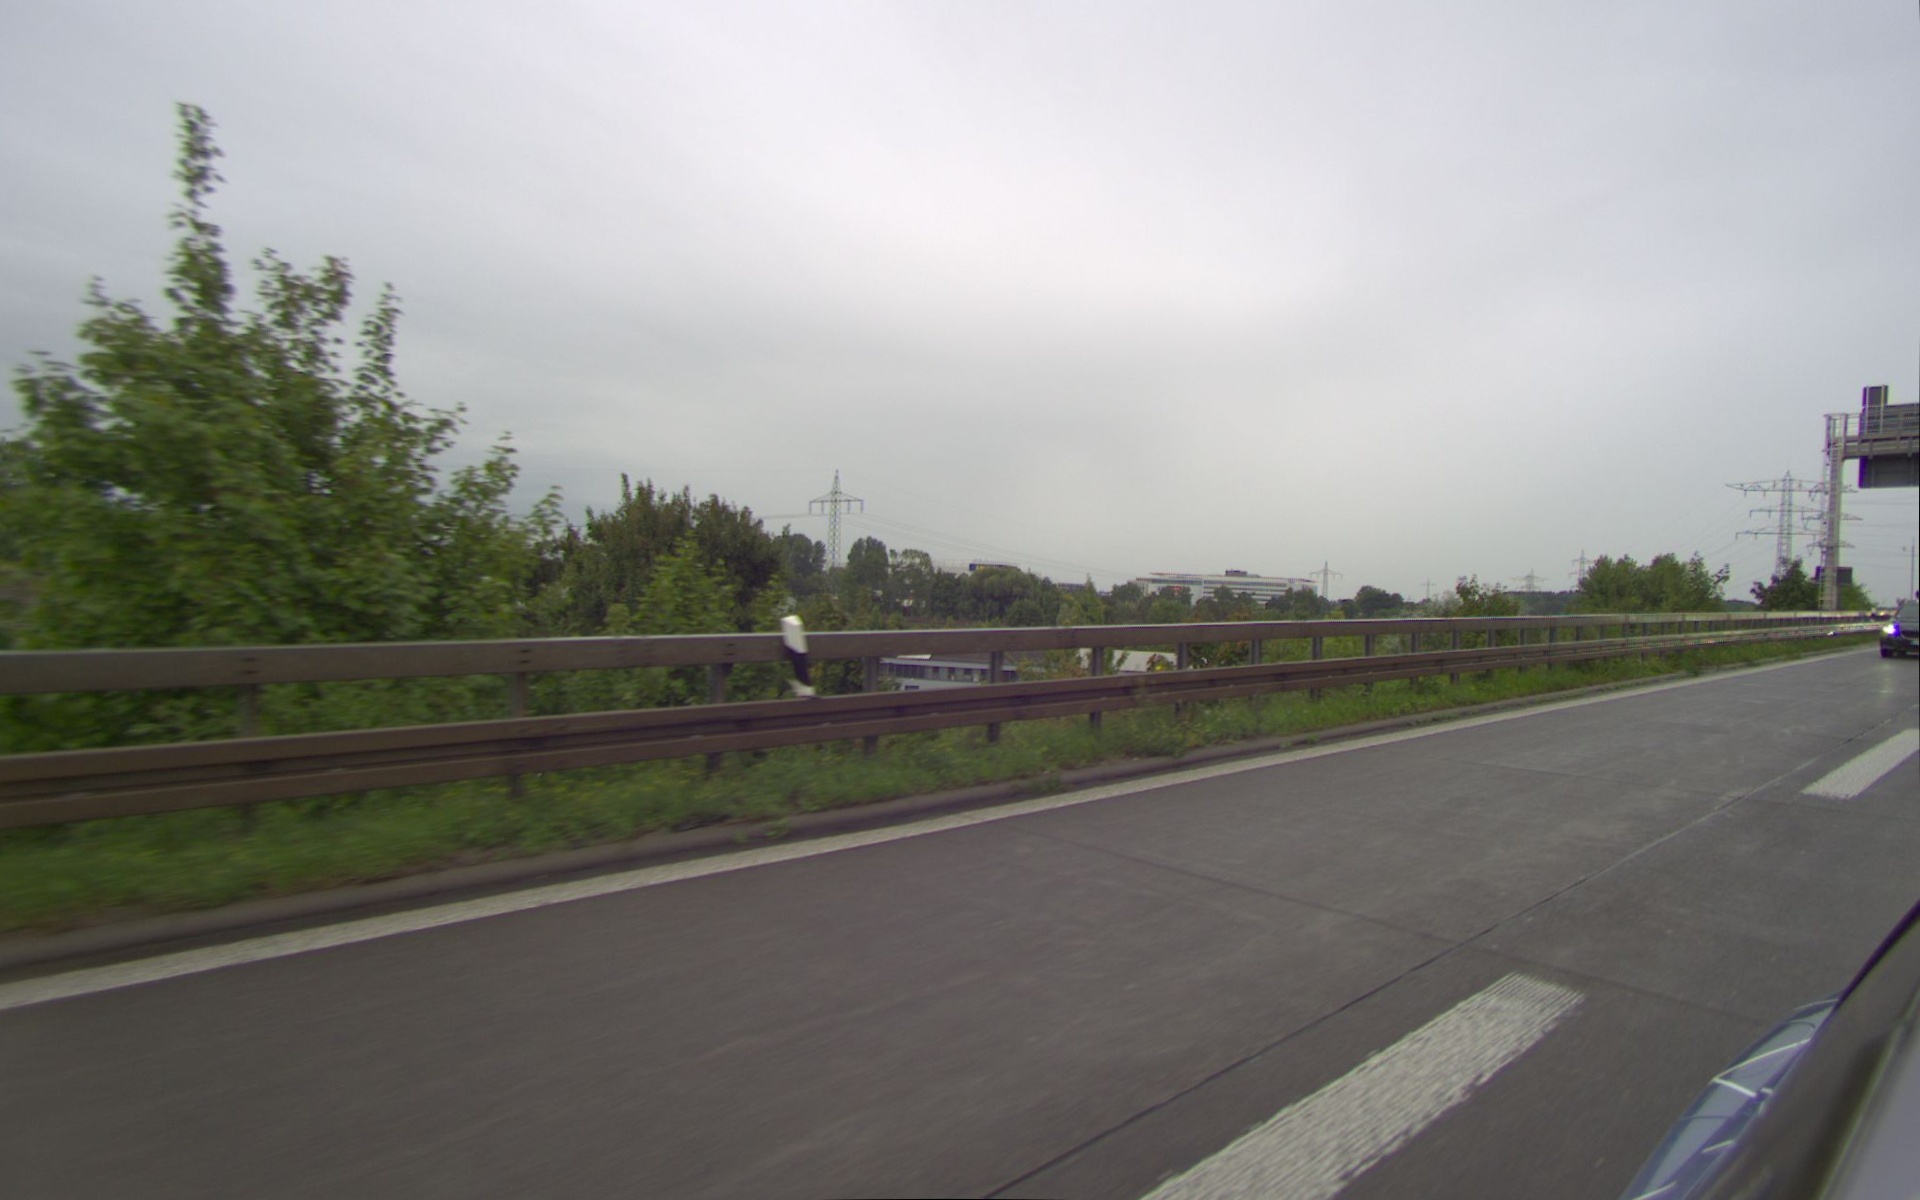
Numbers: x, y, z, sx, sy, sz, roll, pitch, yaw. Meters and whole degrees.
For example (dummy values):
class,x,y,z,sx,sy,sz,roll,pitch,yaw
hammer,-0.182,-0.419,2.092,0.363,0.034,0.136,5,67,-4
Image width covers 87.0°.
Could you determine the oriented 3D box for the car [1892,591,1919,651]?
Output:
class,x,y,z,sx,sy,sz,roll,pitch,yaw
car,26.642,0.575,27.295,4.131,1.560,1.860,1,-1,-42
